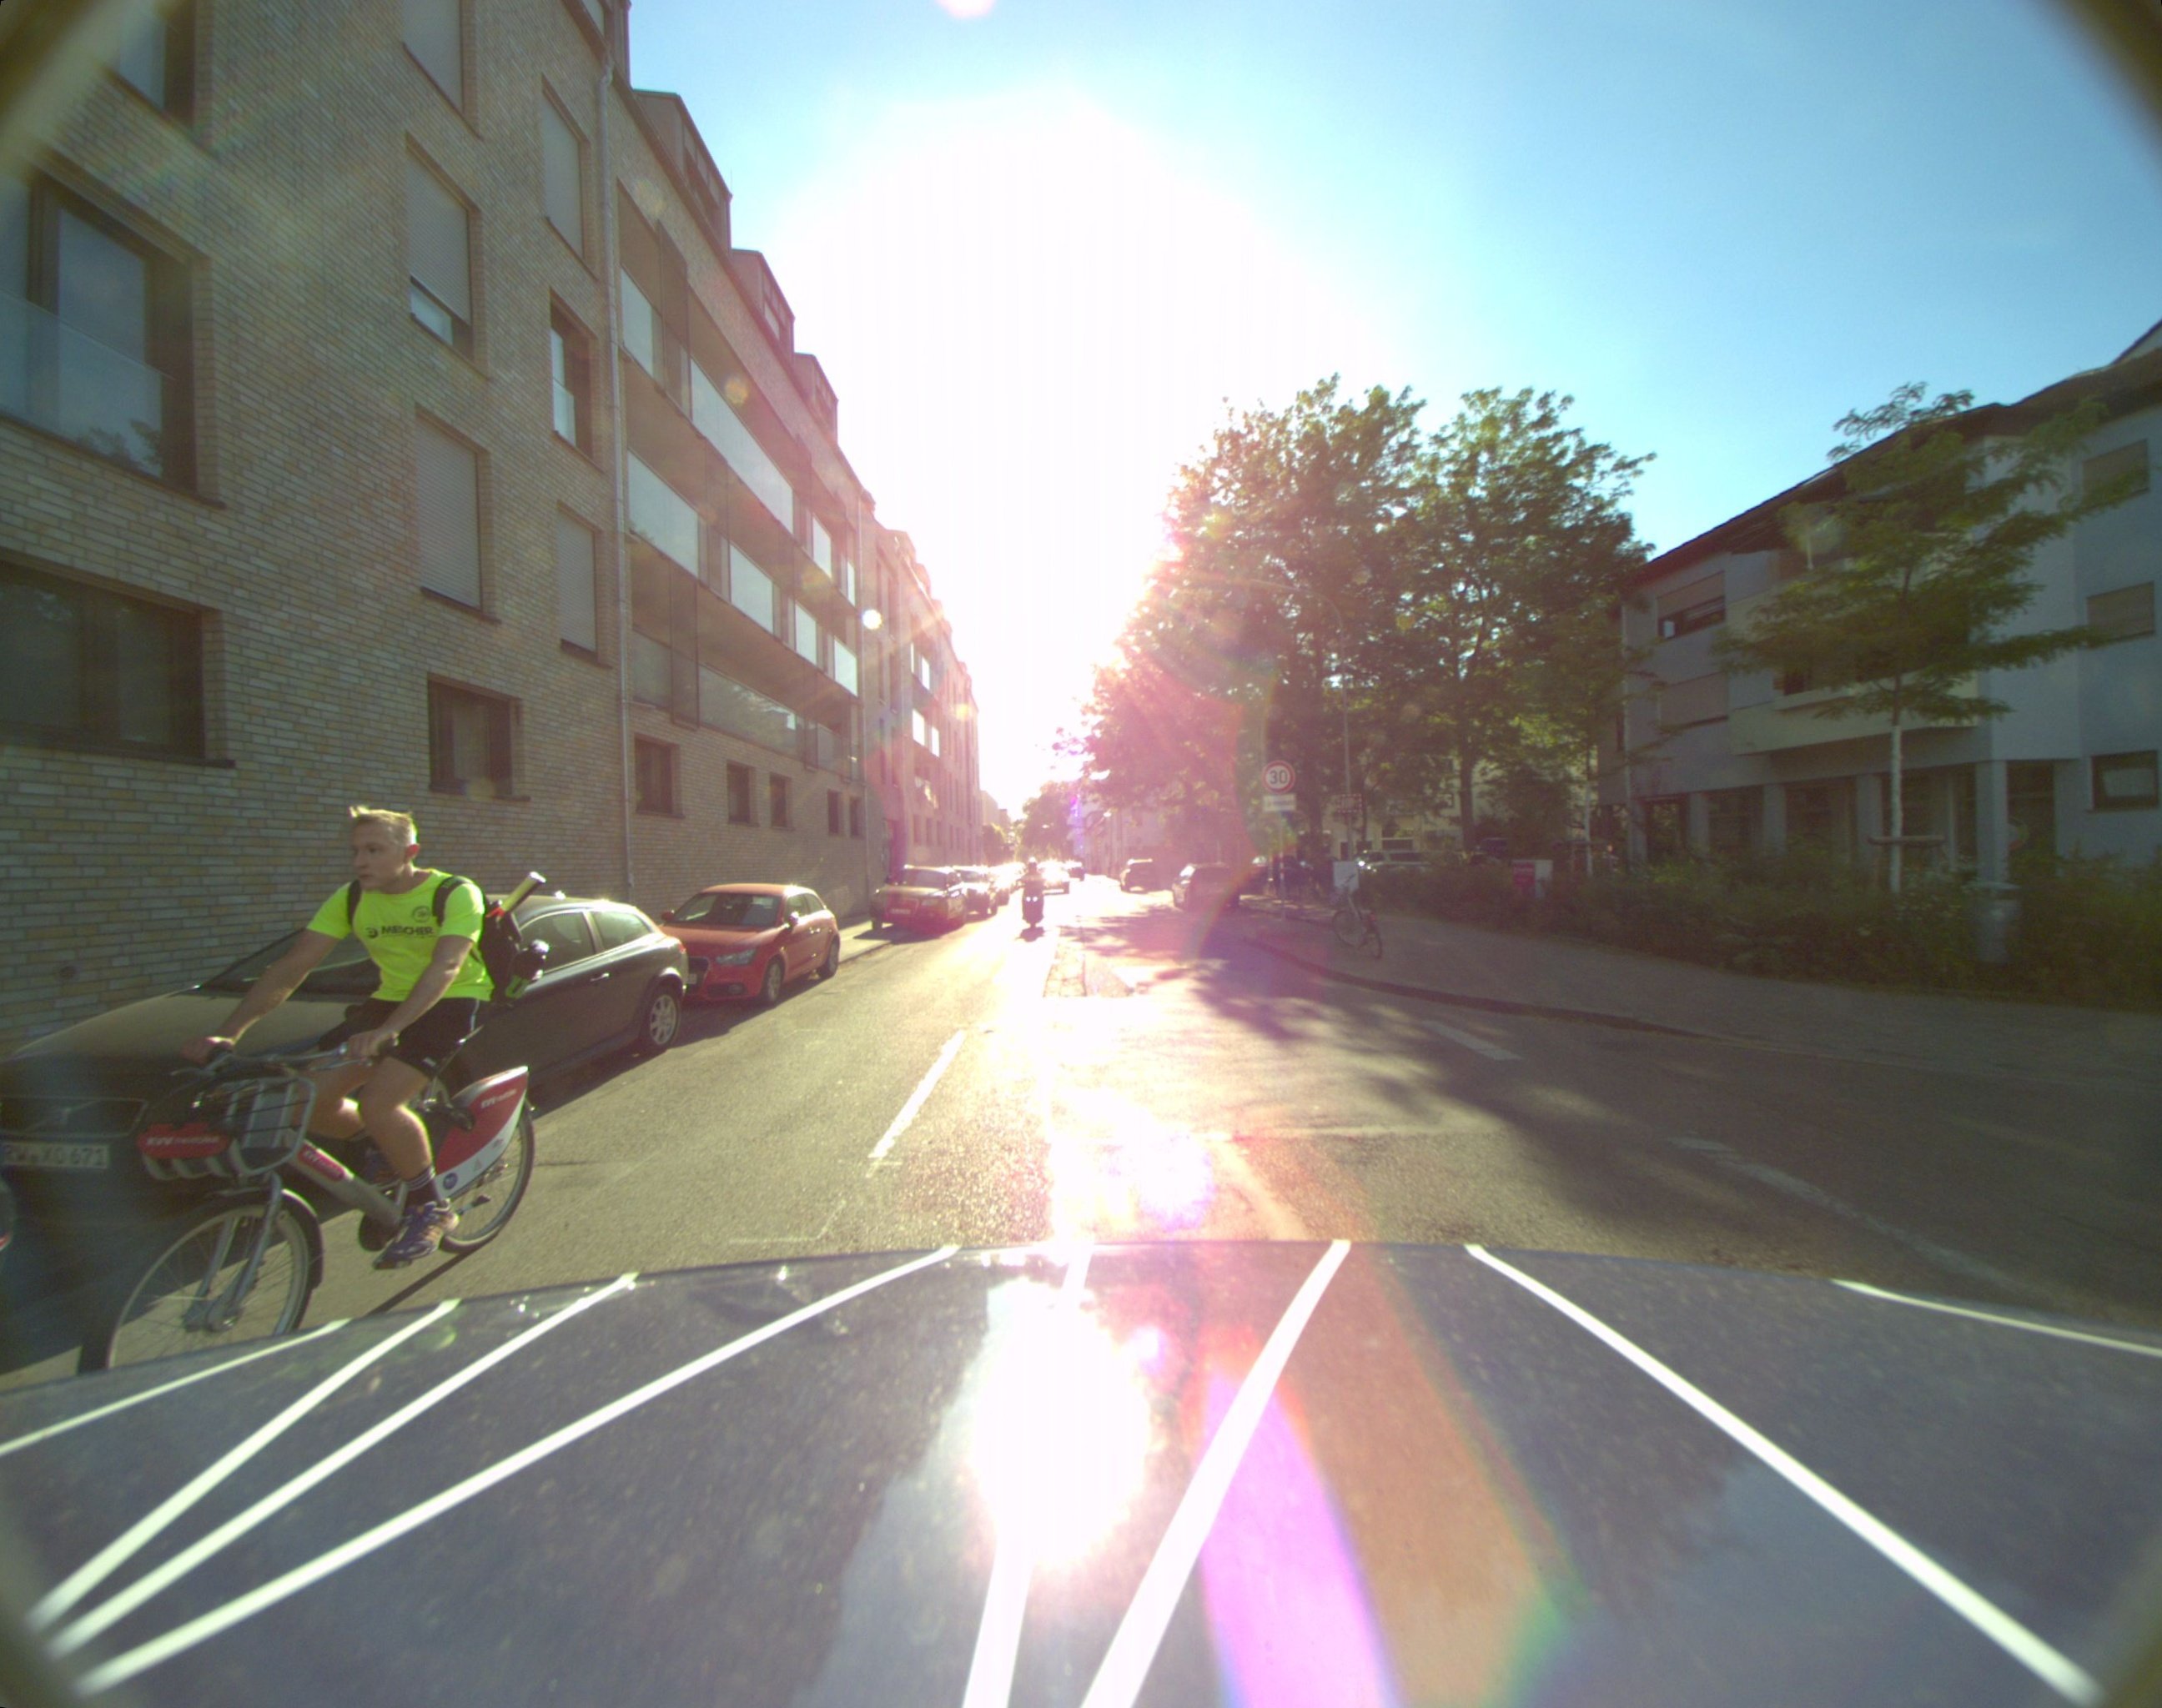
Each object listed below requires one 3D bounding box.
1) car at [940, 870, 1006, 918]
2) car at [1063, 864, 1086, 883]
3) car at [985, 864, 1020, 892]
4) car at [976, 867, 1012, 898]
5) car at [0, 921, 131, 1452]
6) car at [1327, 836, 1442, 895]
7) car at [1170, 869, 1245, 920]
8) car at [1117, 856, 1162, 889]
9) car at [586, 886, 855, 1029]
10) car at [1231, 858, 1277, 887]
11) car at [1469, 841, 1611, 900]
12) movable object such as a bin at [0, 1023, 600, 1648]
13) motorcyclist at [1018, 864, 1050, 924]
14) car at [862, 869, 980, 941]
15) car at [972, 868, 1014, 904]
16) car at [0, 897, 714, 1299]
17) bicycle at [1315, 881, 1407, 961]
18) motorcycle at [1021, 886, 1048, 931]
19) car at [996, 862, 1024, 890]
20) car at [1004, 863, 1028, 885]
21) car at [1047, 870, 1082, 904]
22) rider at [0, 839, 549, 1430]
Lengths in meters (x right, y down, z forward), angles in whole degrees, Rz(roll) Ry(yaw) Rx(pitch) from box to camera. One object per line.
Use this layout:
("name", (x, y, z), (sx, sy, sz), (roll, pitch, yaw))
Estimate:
("car", (-3.752, 1.348, 26.995), (1.821, 1.458, 4.269), (-2, 0, -2))
("car", (-0.638, 1.711, 68.965), (1.944, 1.566, 4.318), (-2, 0, -3))
("car", (-4.702, 1.430, 45.841), (1.730, 1.520, 4.625), (1, 0, -2))
("car", (-4.519, 1.463, 39.985), (1.668, 1.507, 4.218), (0, 0, -4))
("car", (-4.333, 1.045, 0.307), (1.999, 1.643, 4.762), (-2, -1, -2))
("car", (10.806, 0.417, 27.514), (1.848, 1.883, 4.905), (-2, -1, -4))
("car", (4.159, 1.291, 25.522), (1.701, 1.483, 4.000), (-2, -1, -2))
("car", (3.355, 1.036, 44.421), (1.937, 1.695, 5.099), (-4, 0, -2))
("car", (-4.543, 1.216, 10.337), (1.717, 1.396, 4.073), (2, -1, -1))
("car", (8.953, 0.954, 39.606), (1.524, 1.400, 3.639), (-2, 0, 0))
("car", (16.785, 0.584, 28.092), (2.025, 1.936, 4.319), (-2, 0, -13))
("movable object such as a bin", (-2.546, 1.346, 2.703), (0.456, 1.027, 1.839), (-5, 1, -2))
("motorcyclist", (-1.163, 0.977, 18.840), (0.717, 1.424, 0.746), (-2, 0, -2))
("car", (-4.250, 1.302, 21.002), (1.894, 1.702, 4.776), (-2, -1, 4))
("car", (-4.034, 1.436, 35.361), (1.701, 1.459, 4.718), (0, 0, -4))
("car", (-4.674, 1.177, 5.415), (1.999, 1.496, 4.367), (-2, -1, -1))
("bicycle", (4.089, 0.938, 11.268), (0.705, 0.997, 1.942), (-3, 0, 3))
("motorcycle", (-1.153, 1.349, 19.103), (0.599, 1.004, 1.821), (-2, 0, -2))
("car", (-4.722, 1.423, 51.155), (1.672, 1.723, 4.838), (-2, 0, -3))
("car", (-4.819, 1.451, 56.404), (1.655, 1.582, 4.341), (0, -1, -5))
("car", (-0.918, 1.715, 40.840), (1.708, 1.569, 3.915), (-3, 0, -2))
("rider", (-2.590, 0.754, 2.594), (0.655, 1.553, 1.083), (-5, 1, -2))
